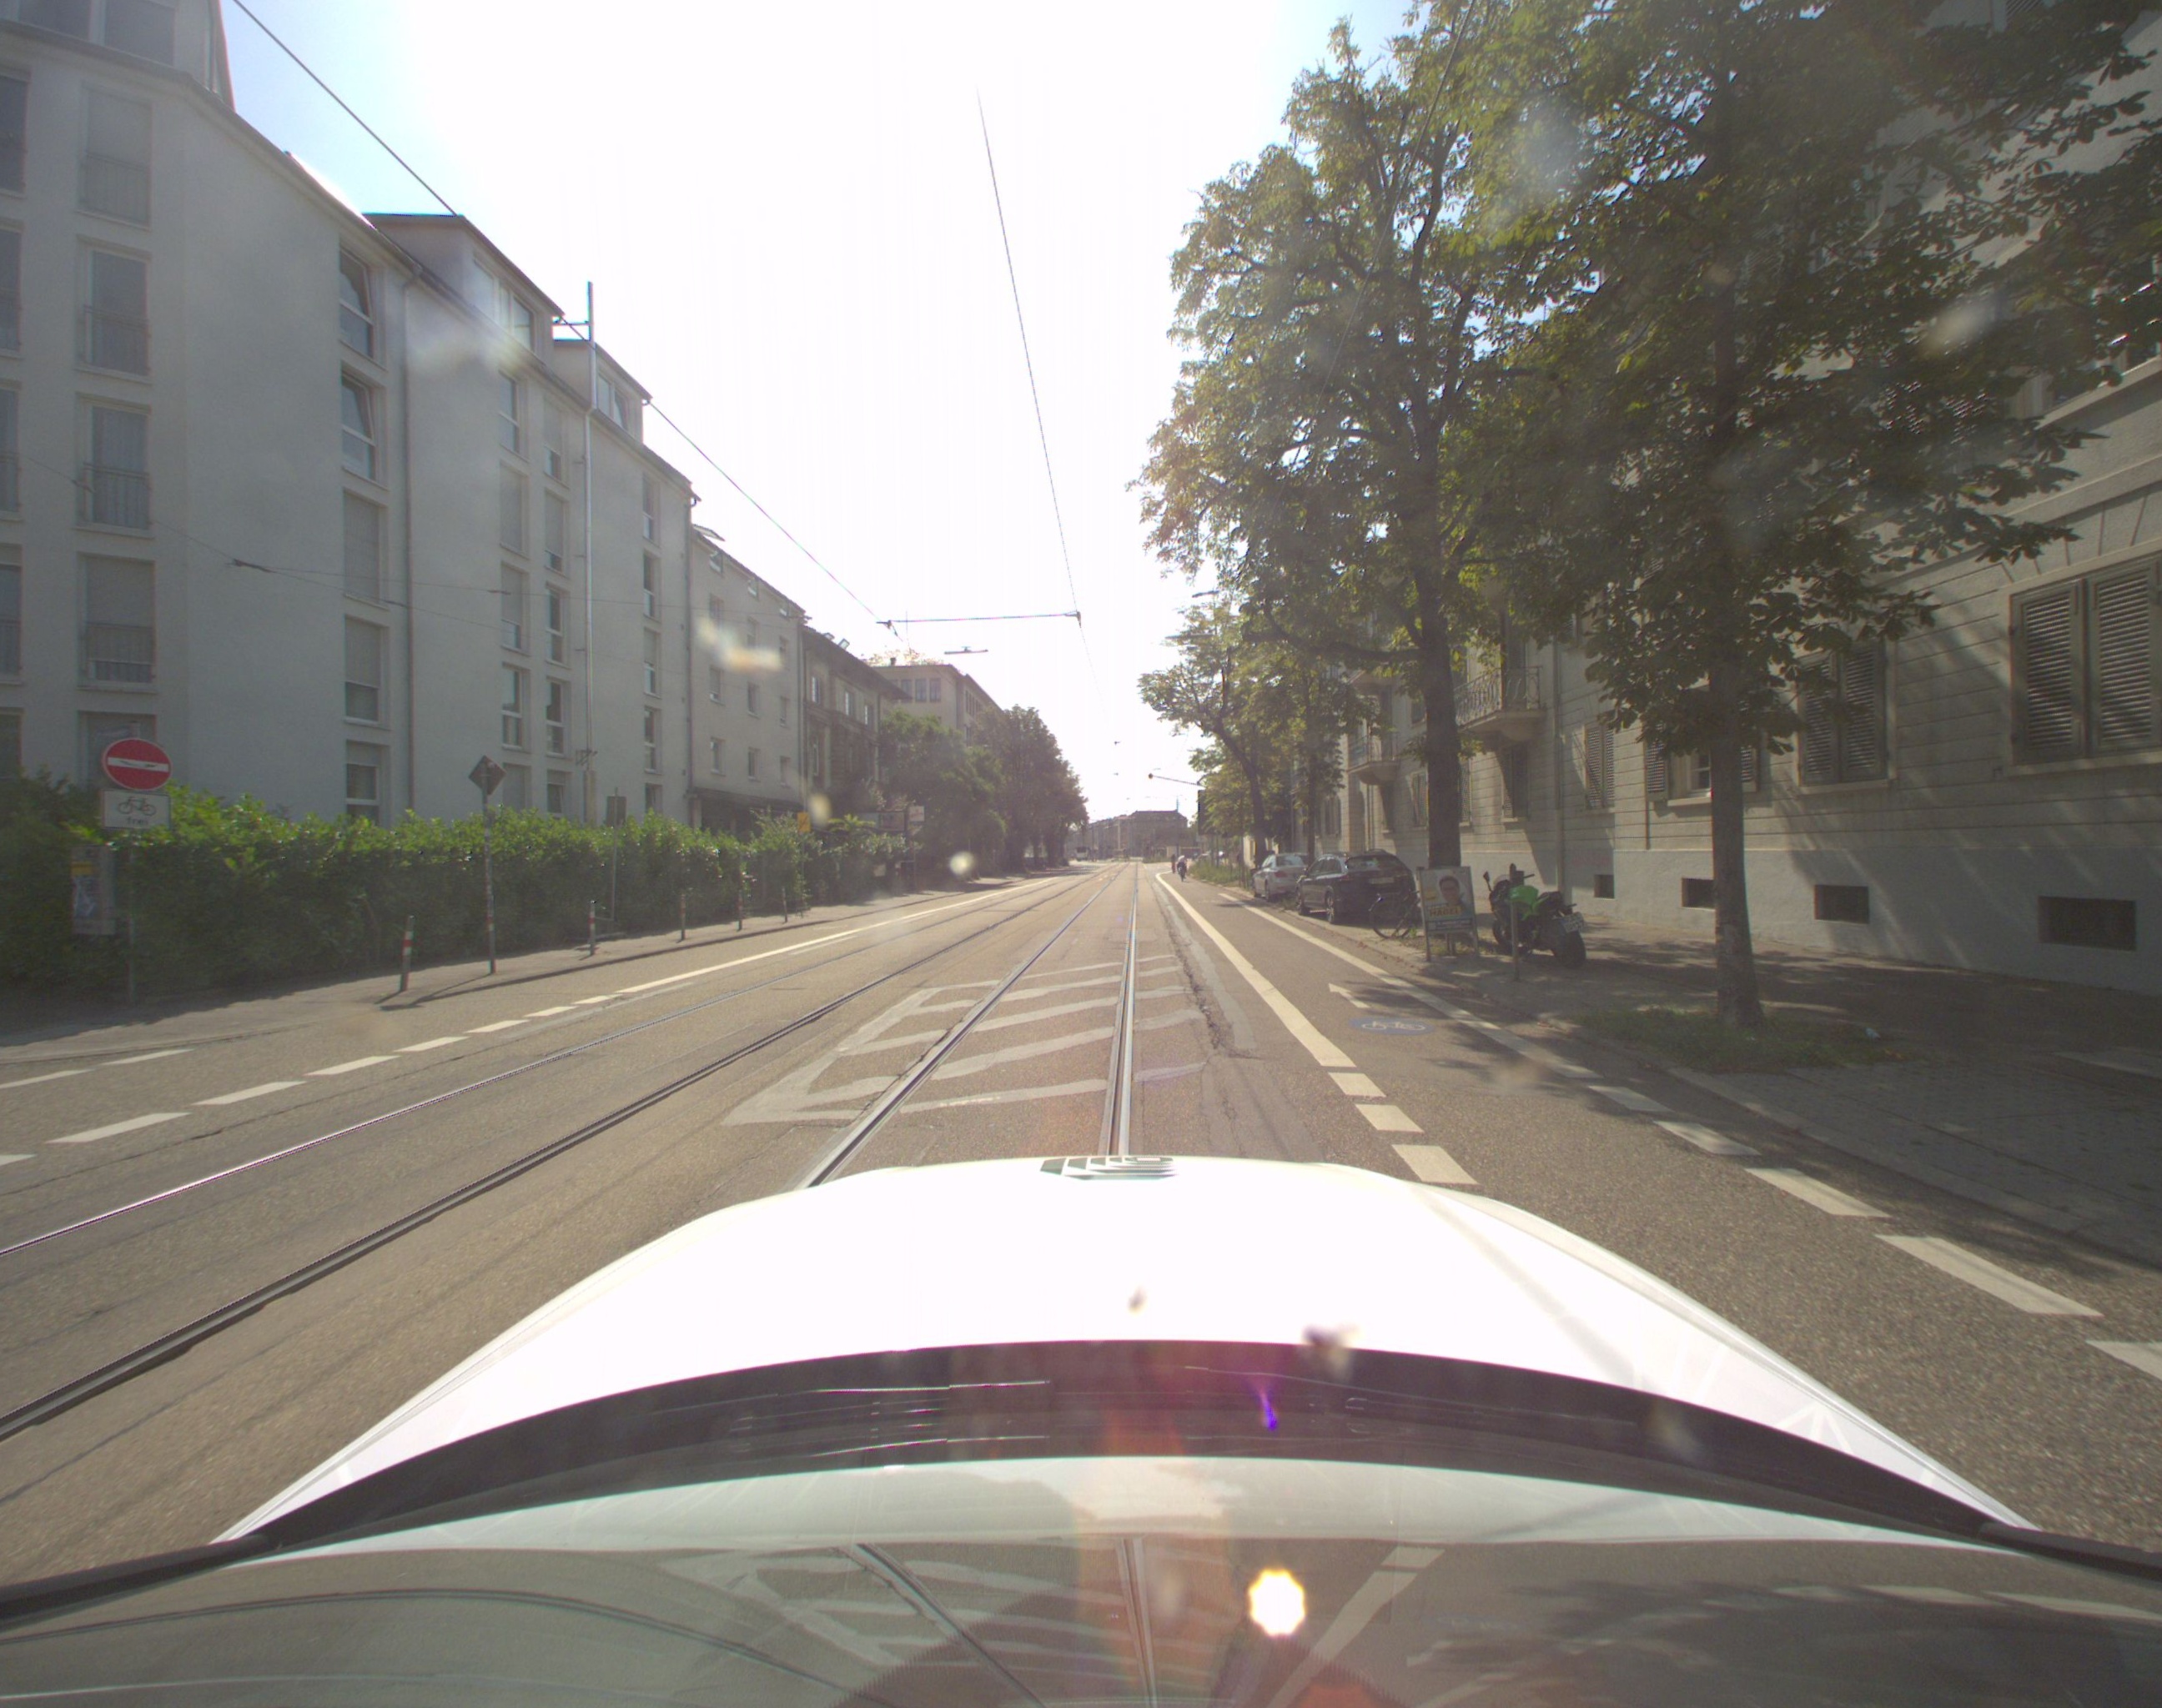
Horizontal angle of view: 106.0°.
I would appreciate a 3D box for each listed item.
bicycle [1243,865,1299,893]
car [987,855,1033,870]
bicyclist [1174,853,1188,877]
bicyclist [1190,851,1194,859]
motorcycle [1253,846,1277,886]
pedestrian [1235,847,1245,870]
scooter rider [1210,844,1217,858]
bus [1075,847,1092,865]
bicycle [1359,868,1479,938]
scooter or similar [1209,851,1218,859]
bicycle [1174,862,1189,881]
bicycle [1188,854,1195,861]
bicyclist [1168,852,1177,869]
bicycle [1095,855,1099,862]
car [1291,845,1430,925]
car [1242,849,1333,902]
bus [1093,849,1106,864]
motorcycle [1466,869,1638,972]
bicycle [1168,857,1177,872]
[{"bbox_3d":[6.942,0.919,29.810,1.912,0.952,0.722,-1,0,7],"label":"bicycle"},{"bbox_3d":[-7.229,0.855,82.976,4.434,1.462,1.807,0,0,-23],"label":"car"},{"bbox_3d":[5.791,0.630,47.200,0.741,1.411,0.963,-1,0,4],"label":"bicyclist"},{"bbox_3d":[19.545,0.223,142.862,0.445,1.421,0.499,-2,-1,43],"label":"bicyclist"},{"bbox_3d":[7.519,0.476,33.391,0.880,1.553,2.420,-2,0,12],"label":"motorcycle"},{"bbox_3d":[12.162,0.364,62.383,0.688,1.732,0.580,-1,0,6],"label":"pedestrian"},{"bbox_3d":[16.849,-0.364,103.657,0.755,1.775,0.558,-1,0,20],"label":"scooter rider"},{"bbox_3d":[0.653,0.484,174.854,2.945,3.775,10.606,0,0,3],"label":"bus"},{"bbox_3d":[5.690,0.813,13.781,1.747,1.123,0.656,-1,0,3],"label":"bicycle"},{"bbox_3d":[16.858,0.105,103.675,0.765,0.926,1.629,-1,0,21],"label":"scooter or similar"},{"bbox_3d":[5.784,1.008,47.166,0.736,1.049,2.236,-1,0,4],"label":"bicycle"},{"bbox_3d":[19.444,0.608,142.733,0.440,1.117,1.455,-2,-1,42],"label":"bicycle"},{"bbox_3d":[7.438,0.505,66.171,0.599,1.335,0.661,-1,0,9],"label":"bicyclist"},{"bbox_3d":[3.147,0.916,161.334,0.604,1.222,1.709,-1,0,8],"label":"bicycle"},{"bbox_3d":[6.014,0.600,18.086,1.657,1.507,4.436,-2,0,2],"label":"car"},{"bbox_3d":[6.431,0.620,25.895,1.776,1.450,4.753,-2,0,2],"label":"car"},{"bbox_3d":[4.976,0.674,220.324,2.696,3.727,10.434,0,0,5],"label":"bus"},{"bbox_3d":[5.965,0.783,10.538,0.823,1.111,2.499,-1,0,2],"label":"motorcycle"},{"bbox_3d":[7.469,0.874,66.259,0.600,1.163,1.815,-1,0,8],"label":"bicycle"}]
